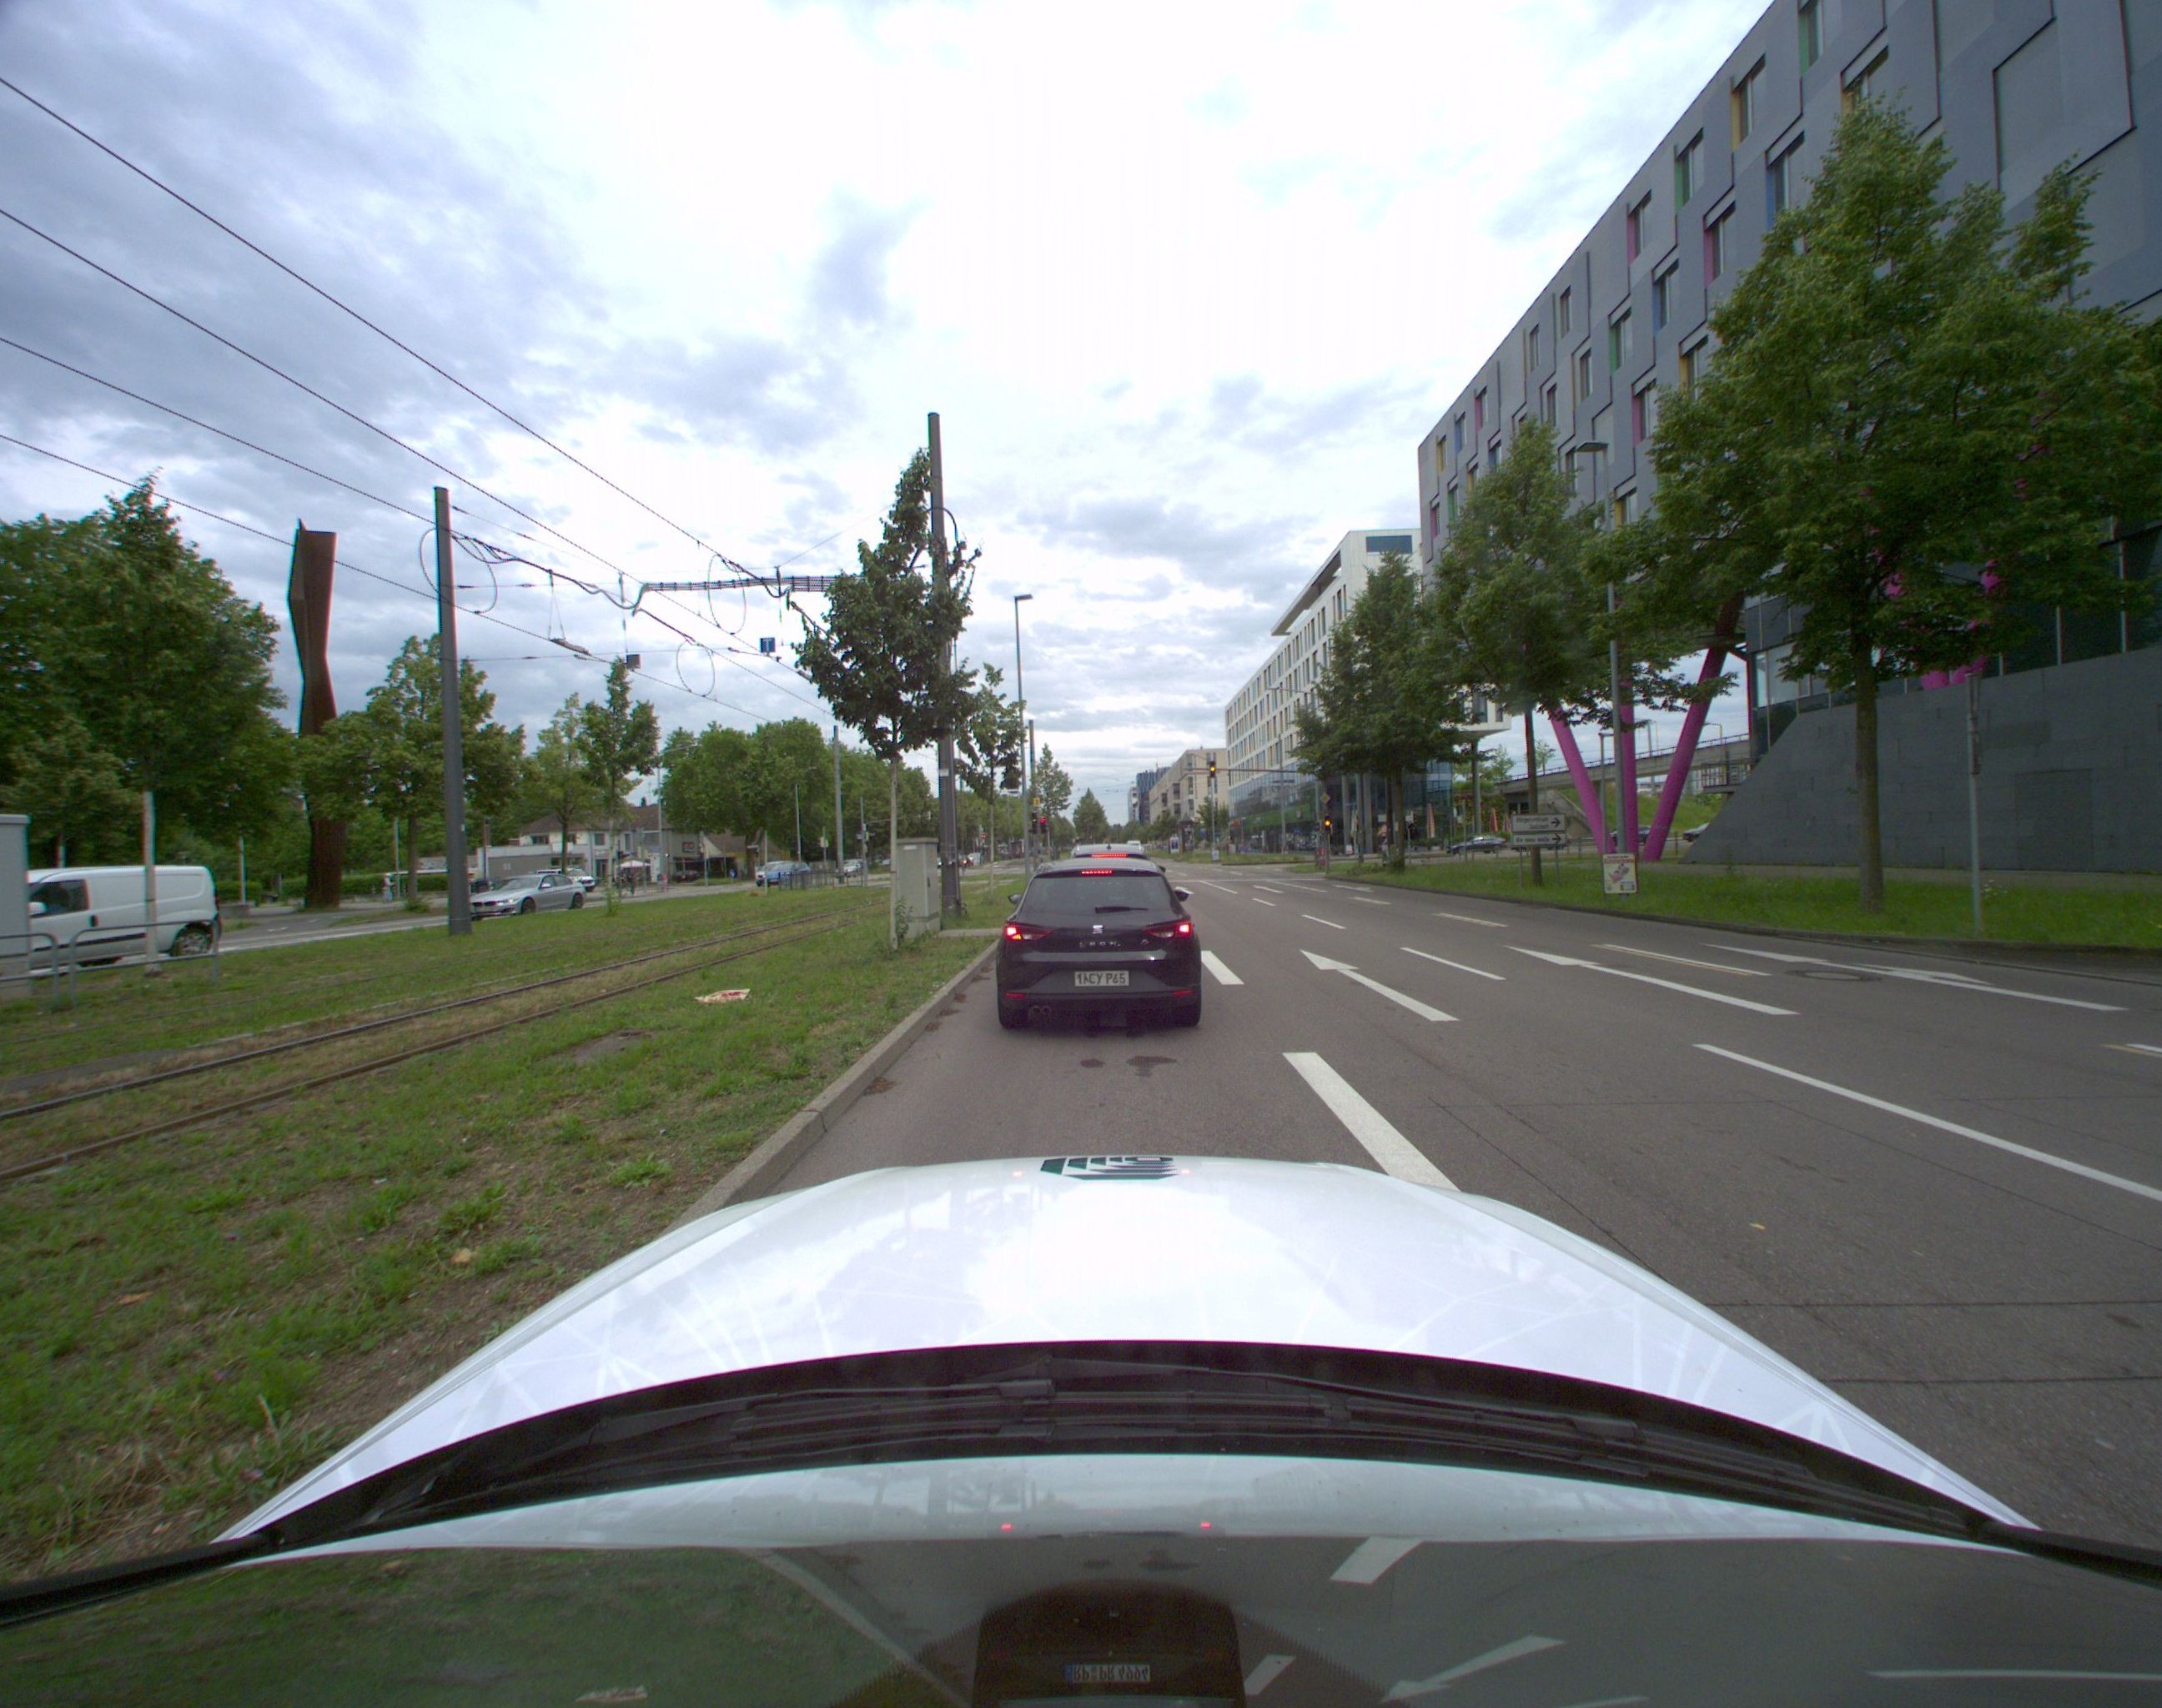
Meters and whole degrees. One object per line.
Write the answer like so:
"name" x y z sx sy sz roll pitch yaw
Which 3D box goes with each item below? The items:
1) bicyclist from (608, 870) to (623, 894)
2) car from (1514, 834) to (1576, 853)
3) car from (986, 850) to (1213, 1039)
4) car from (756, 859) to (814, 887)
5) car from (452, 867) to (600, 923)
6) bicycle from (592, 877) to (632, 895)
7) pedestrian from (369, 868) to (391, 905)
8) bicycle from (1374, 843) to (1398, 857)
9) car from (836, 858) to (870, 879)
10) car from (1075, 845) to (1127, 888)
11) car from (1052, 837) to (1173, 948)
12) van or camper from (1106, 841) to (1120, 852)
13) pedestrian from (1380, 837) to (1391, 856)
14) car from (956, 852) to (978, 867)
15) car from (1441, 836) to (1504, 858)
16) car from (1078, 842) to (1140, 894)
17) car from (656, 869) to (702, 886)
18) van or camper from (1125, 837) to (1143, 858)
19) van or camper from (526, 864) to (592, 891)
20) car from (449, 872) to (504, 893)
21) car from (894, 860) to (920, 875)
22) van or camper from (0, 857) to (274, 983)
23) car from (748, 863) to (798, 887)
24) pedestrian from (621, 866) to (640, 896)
"bicyclist" -35.299 2.124 61.746 0.854 1.721 0.715 -2 0 -25
"car" 37.941 -0.856 66.614 4.063 1.455 1.760 -2 0 3
"car" 0.179 0.691 8.294 1.737 1.417 4.001 -1 1 1
"car" -18.600 1.156 51.359 1.958 1.588 4.686 -1 1 -1
"car" -18.602 1.305 27.627 1.724 1.445 4.918 -4 1 -3
"bicycle" -35.497 2.409 61.703 2.520 1.202 0.734 -2 0 -25
"pedestrian" -39.831 1.844 46.275 0.910 2.013 0.942 -2 0 -40
"bicycle" 25.645 -0.351 68.465 1.784 1.085 0.618 -2 0 3
"car" -20.140 1.278 72.143 1.715 1.643 4.674 -2 0 0
"car" 0.907 0.461 34.125 1.985 1.681 4.005 -1 1 4
"car" 0.544 0.565 14.402 1.796 1.624 4.002 -2 0 2
"van or camper" 4.871 -1.188 123.847 1.986 1.615 4.792 -1 2 2
"pedestrian" 25.603 -0.613 68.464 0.612 1.604 0.619 -2 0 4
"car" -14.124 0.616 101.382 1.987 1.750 4.201 -2 0 1
"car" 31.925 -0.557 66.440 4.233 1.615 1.760 -2 0 3
"car" 1.057 0.435 28.951 1.984 1.681 4.006 -1 1 5
"car" -47.052 2.721 95.324 4.258 1.815 2.111 -2 0 6
"van or camper" 6.678 -0.851 102.638 2.101 2.355 4.927 -1 2 2
"van or camper" -41.662 1.884 65.016 5.212 2.013 2.481 -2 0 34
"car" -59.484 2.758 80.187 3.969 1.848 2.002 -2 0 4
"car" -19.639 1.525 92.000 1.789 1.570 4.331 -2 1 3
"van or camper" -17.586 1.064 14.310 1.886 1.900 5.116 -3 0 -5
"car" -21.438 1.407 56.890 1.790 1.571 4.578 0 0 0
"pedestrian" -27.599 1.646 49.883 0.779 1.832 0.771 -2 0 -16
